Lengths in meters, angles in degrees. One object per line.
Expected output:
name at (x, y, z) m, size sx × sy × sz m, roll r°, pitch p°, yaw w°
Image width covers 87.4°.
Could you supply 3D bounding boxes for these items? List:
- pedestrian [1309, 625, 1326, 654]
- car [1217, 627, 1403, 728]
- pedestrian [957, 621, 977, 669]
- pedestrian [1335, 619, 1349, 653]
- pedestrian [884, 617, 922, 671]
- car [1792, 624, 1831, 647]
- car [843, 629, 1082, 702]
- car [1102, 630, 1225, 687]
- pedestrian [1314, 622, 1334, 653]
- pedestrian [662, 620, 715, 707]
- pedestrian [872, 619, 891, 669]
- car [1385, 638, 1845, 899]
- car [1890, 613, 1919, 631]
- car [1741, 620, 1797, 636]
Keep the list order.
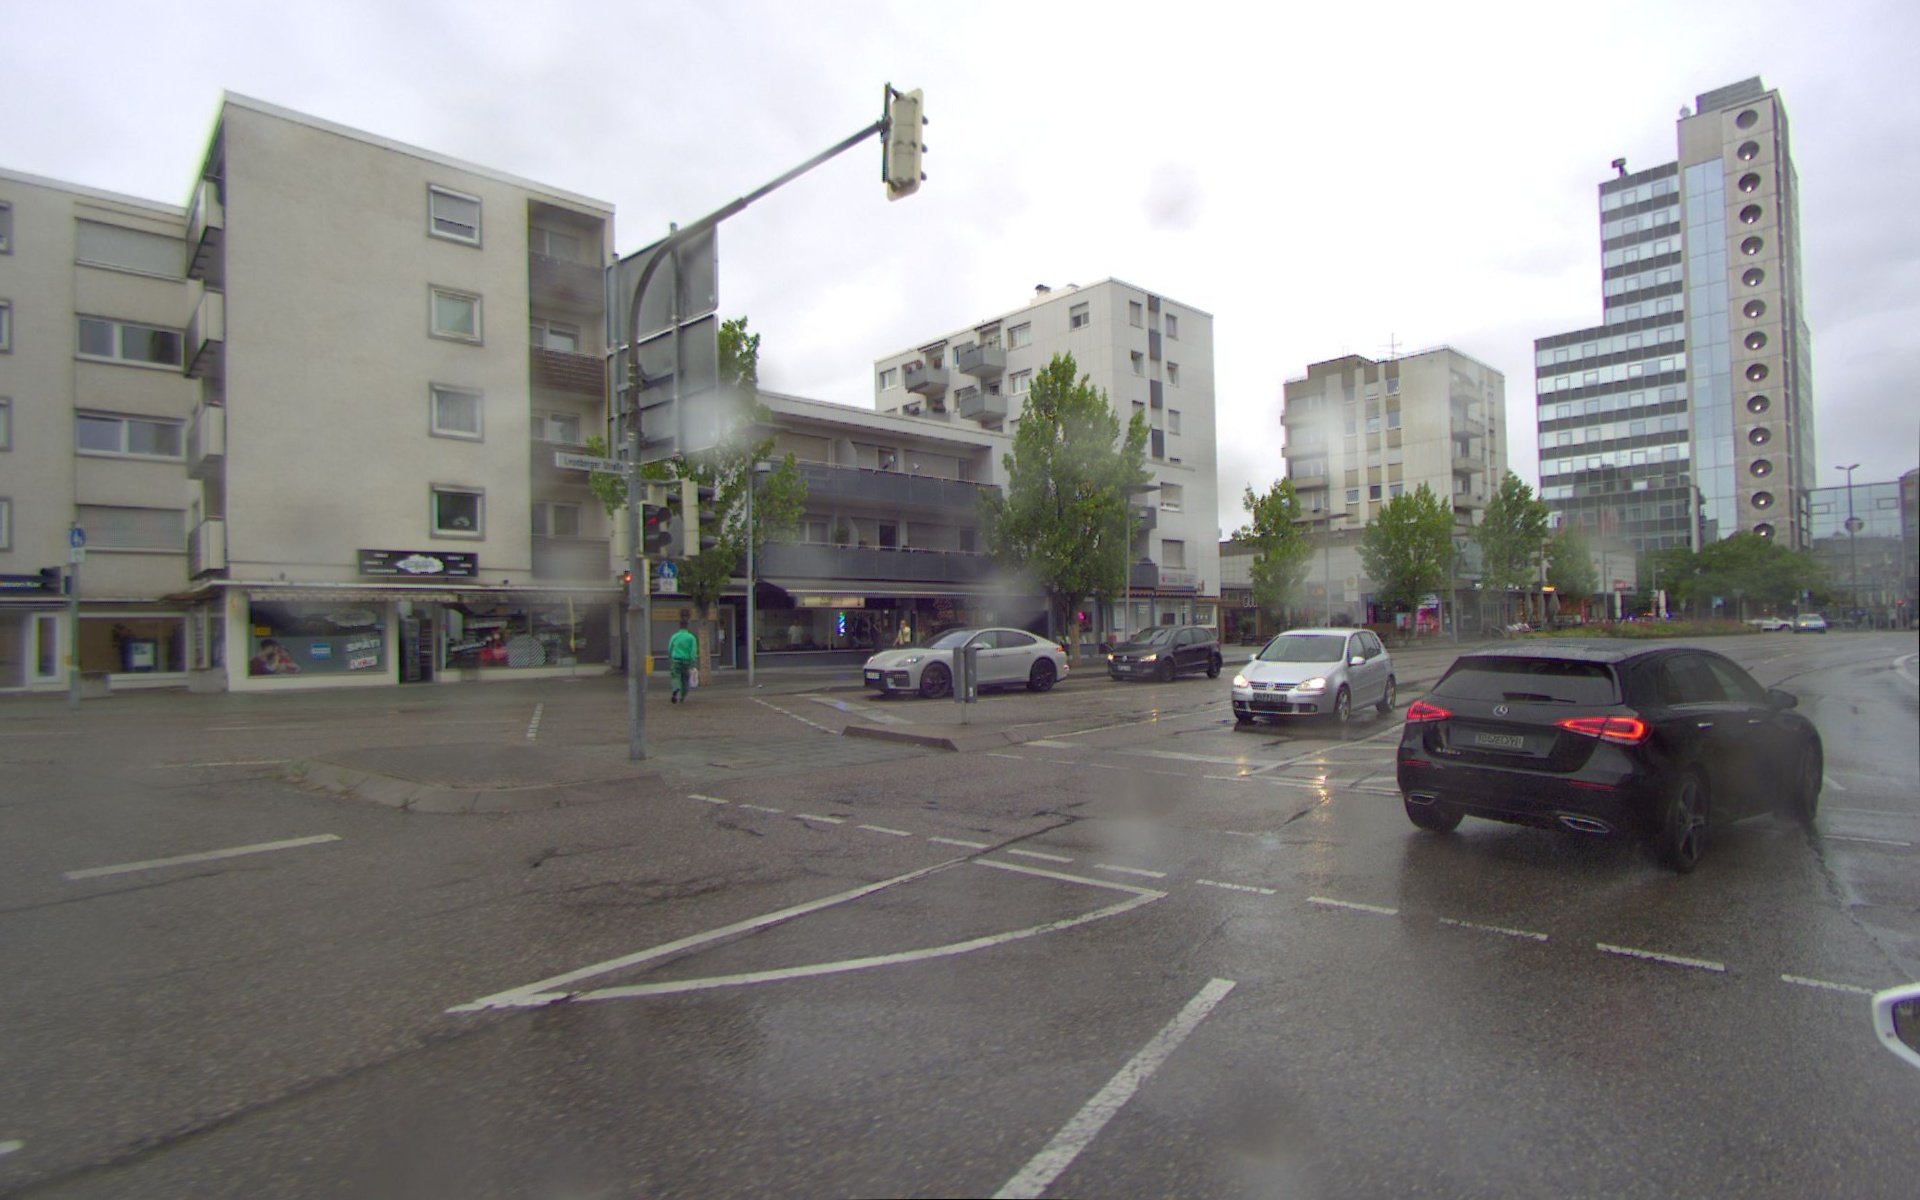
pedestrian at (18.381, 2.033, 51.693) m, size 0.626 × 1.490 × 0.634 m, roll -2°, pitch -1°, yaw 37°
car at (6.026, 1.221, 17.021) m, size 1.720 × 1.460 × 3.975 m, roll -3°, pitch -2°, yaw 39°
pedestrian at (0.255, 1.715, 38.502) m, size 0.487 × 1.817 × 0.562 m, roll 1°, pitch -3°, yaw -39°
pedestrian at (19.802, 1.852, 52.031) m, size 0.481 × 1.741 × 0.535 m, roll -2°, pitch -1°, yaw 41°
pedestrian at (-1.951, 1.504, 34.439) m, size 0.863 × 1.835 × 0.919 m, roll -3°, pitch -3°, yaw 44°
car at (64.102, 2.664, 75.614) m, size 3.484 × 1.653 × 1.678 m, roll -1°, pitch -2°, yaw -41°
car at (0.143, 1.366, 22.326) m, size 5.096 × 1.432 × 2.102 m, roll 1°, pitch -2°, yaw -36°
car at (5.451, 1.501, 26.628) m, size 1.420 × 1.314 × 3.755 m, roll -2°, pitch -2°, yaw 43°
pedestrian at (18.968, 1.931, 52.299) m, size 0.784 × 1.592 × 0.634 m, roll -2°, pitch -1°, yaw 38°
pedestrian at (-5.284, 1.217, 19.520) m, size 0.937 × 1.644 × 0.806 m, roll 0°, pitch -2°, yaw -18°
pedestrian at (-2.794, 1.571, 35.643) m, size 0.443 × 1.746 × 0.498 m, roll -3°, pitch -3°, yaw 42°
car at (5.131, 1.052, 7.680) m, size 4.056 × 1.500 × 1.651 m, roll 2°, pitch -3°, yaw -37°
car at (83.961, 1.919, 87.805) m, size 3.840 × 1.538 × 1.774 m, roll -3°, pitch -2°, yaw 44°
car at (74.843, 2.577, 92.929) m, size 3.944 × 1.402 × 1.718 m, roll -3°, pitch -2°, yaw 43°
